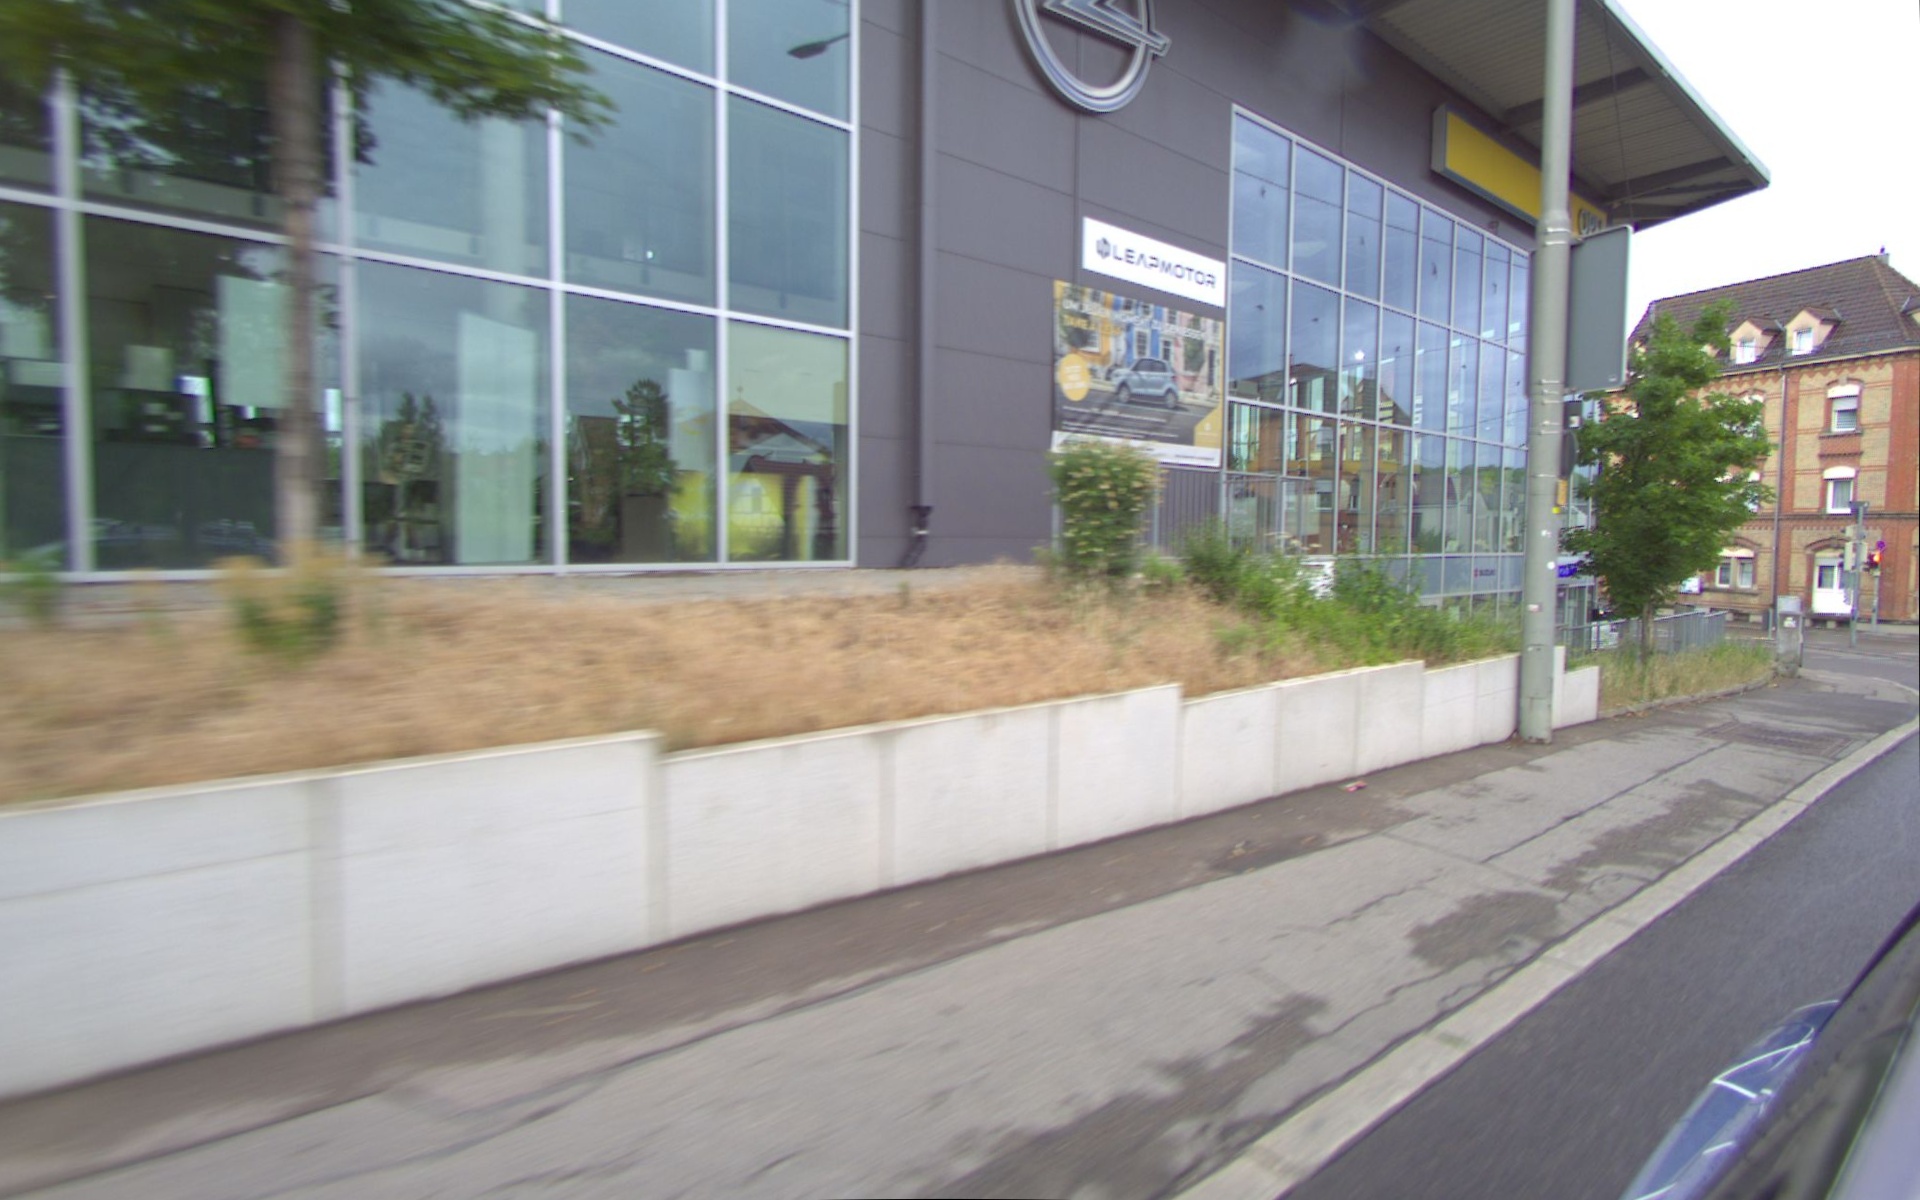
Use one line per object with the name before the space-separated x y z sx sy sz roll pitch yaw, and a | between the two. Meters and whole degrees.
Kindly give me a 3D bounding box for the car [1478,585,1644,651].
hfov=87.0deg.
car | 17.228 0.451 29.266 1.859 1.526 4.010 -3 4 -13
